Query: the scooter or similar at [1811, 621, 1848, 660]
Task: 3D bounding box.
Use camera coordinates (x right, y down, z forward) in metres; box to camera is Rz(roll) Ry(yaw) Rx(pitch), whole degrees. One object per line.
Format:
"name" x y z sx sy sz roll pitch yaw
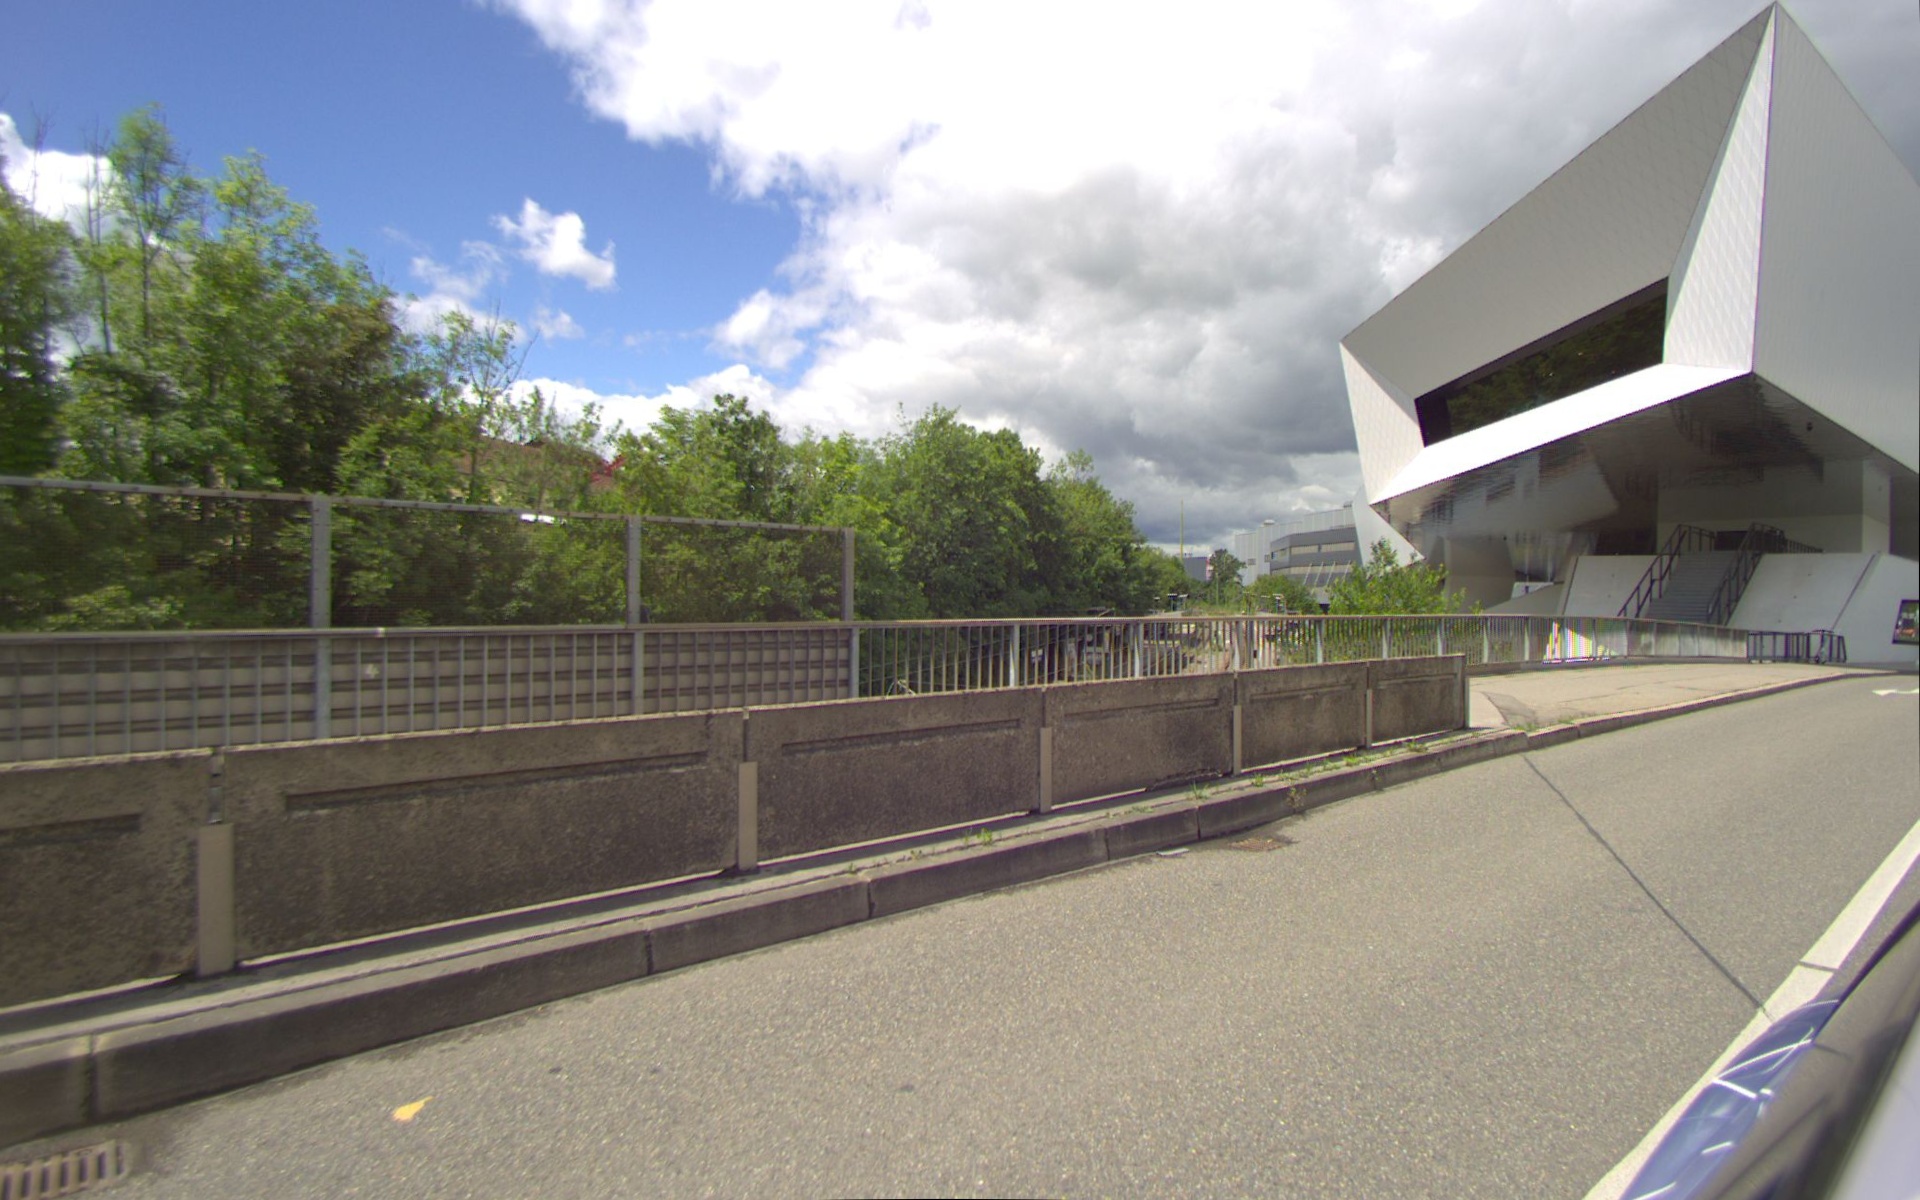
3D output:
"scooter or similar" 29.245 1.358 34.039 1.824 1.229 0.654 2 0 -41
